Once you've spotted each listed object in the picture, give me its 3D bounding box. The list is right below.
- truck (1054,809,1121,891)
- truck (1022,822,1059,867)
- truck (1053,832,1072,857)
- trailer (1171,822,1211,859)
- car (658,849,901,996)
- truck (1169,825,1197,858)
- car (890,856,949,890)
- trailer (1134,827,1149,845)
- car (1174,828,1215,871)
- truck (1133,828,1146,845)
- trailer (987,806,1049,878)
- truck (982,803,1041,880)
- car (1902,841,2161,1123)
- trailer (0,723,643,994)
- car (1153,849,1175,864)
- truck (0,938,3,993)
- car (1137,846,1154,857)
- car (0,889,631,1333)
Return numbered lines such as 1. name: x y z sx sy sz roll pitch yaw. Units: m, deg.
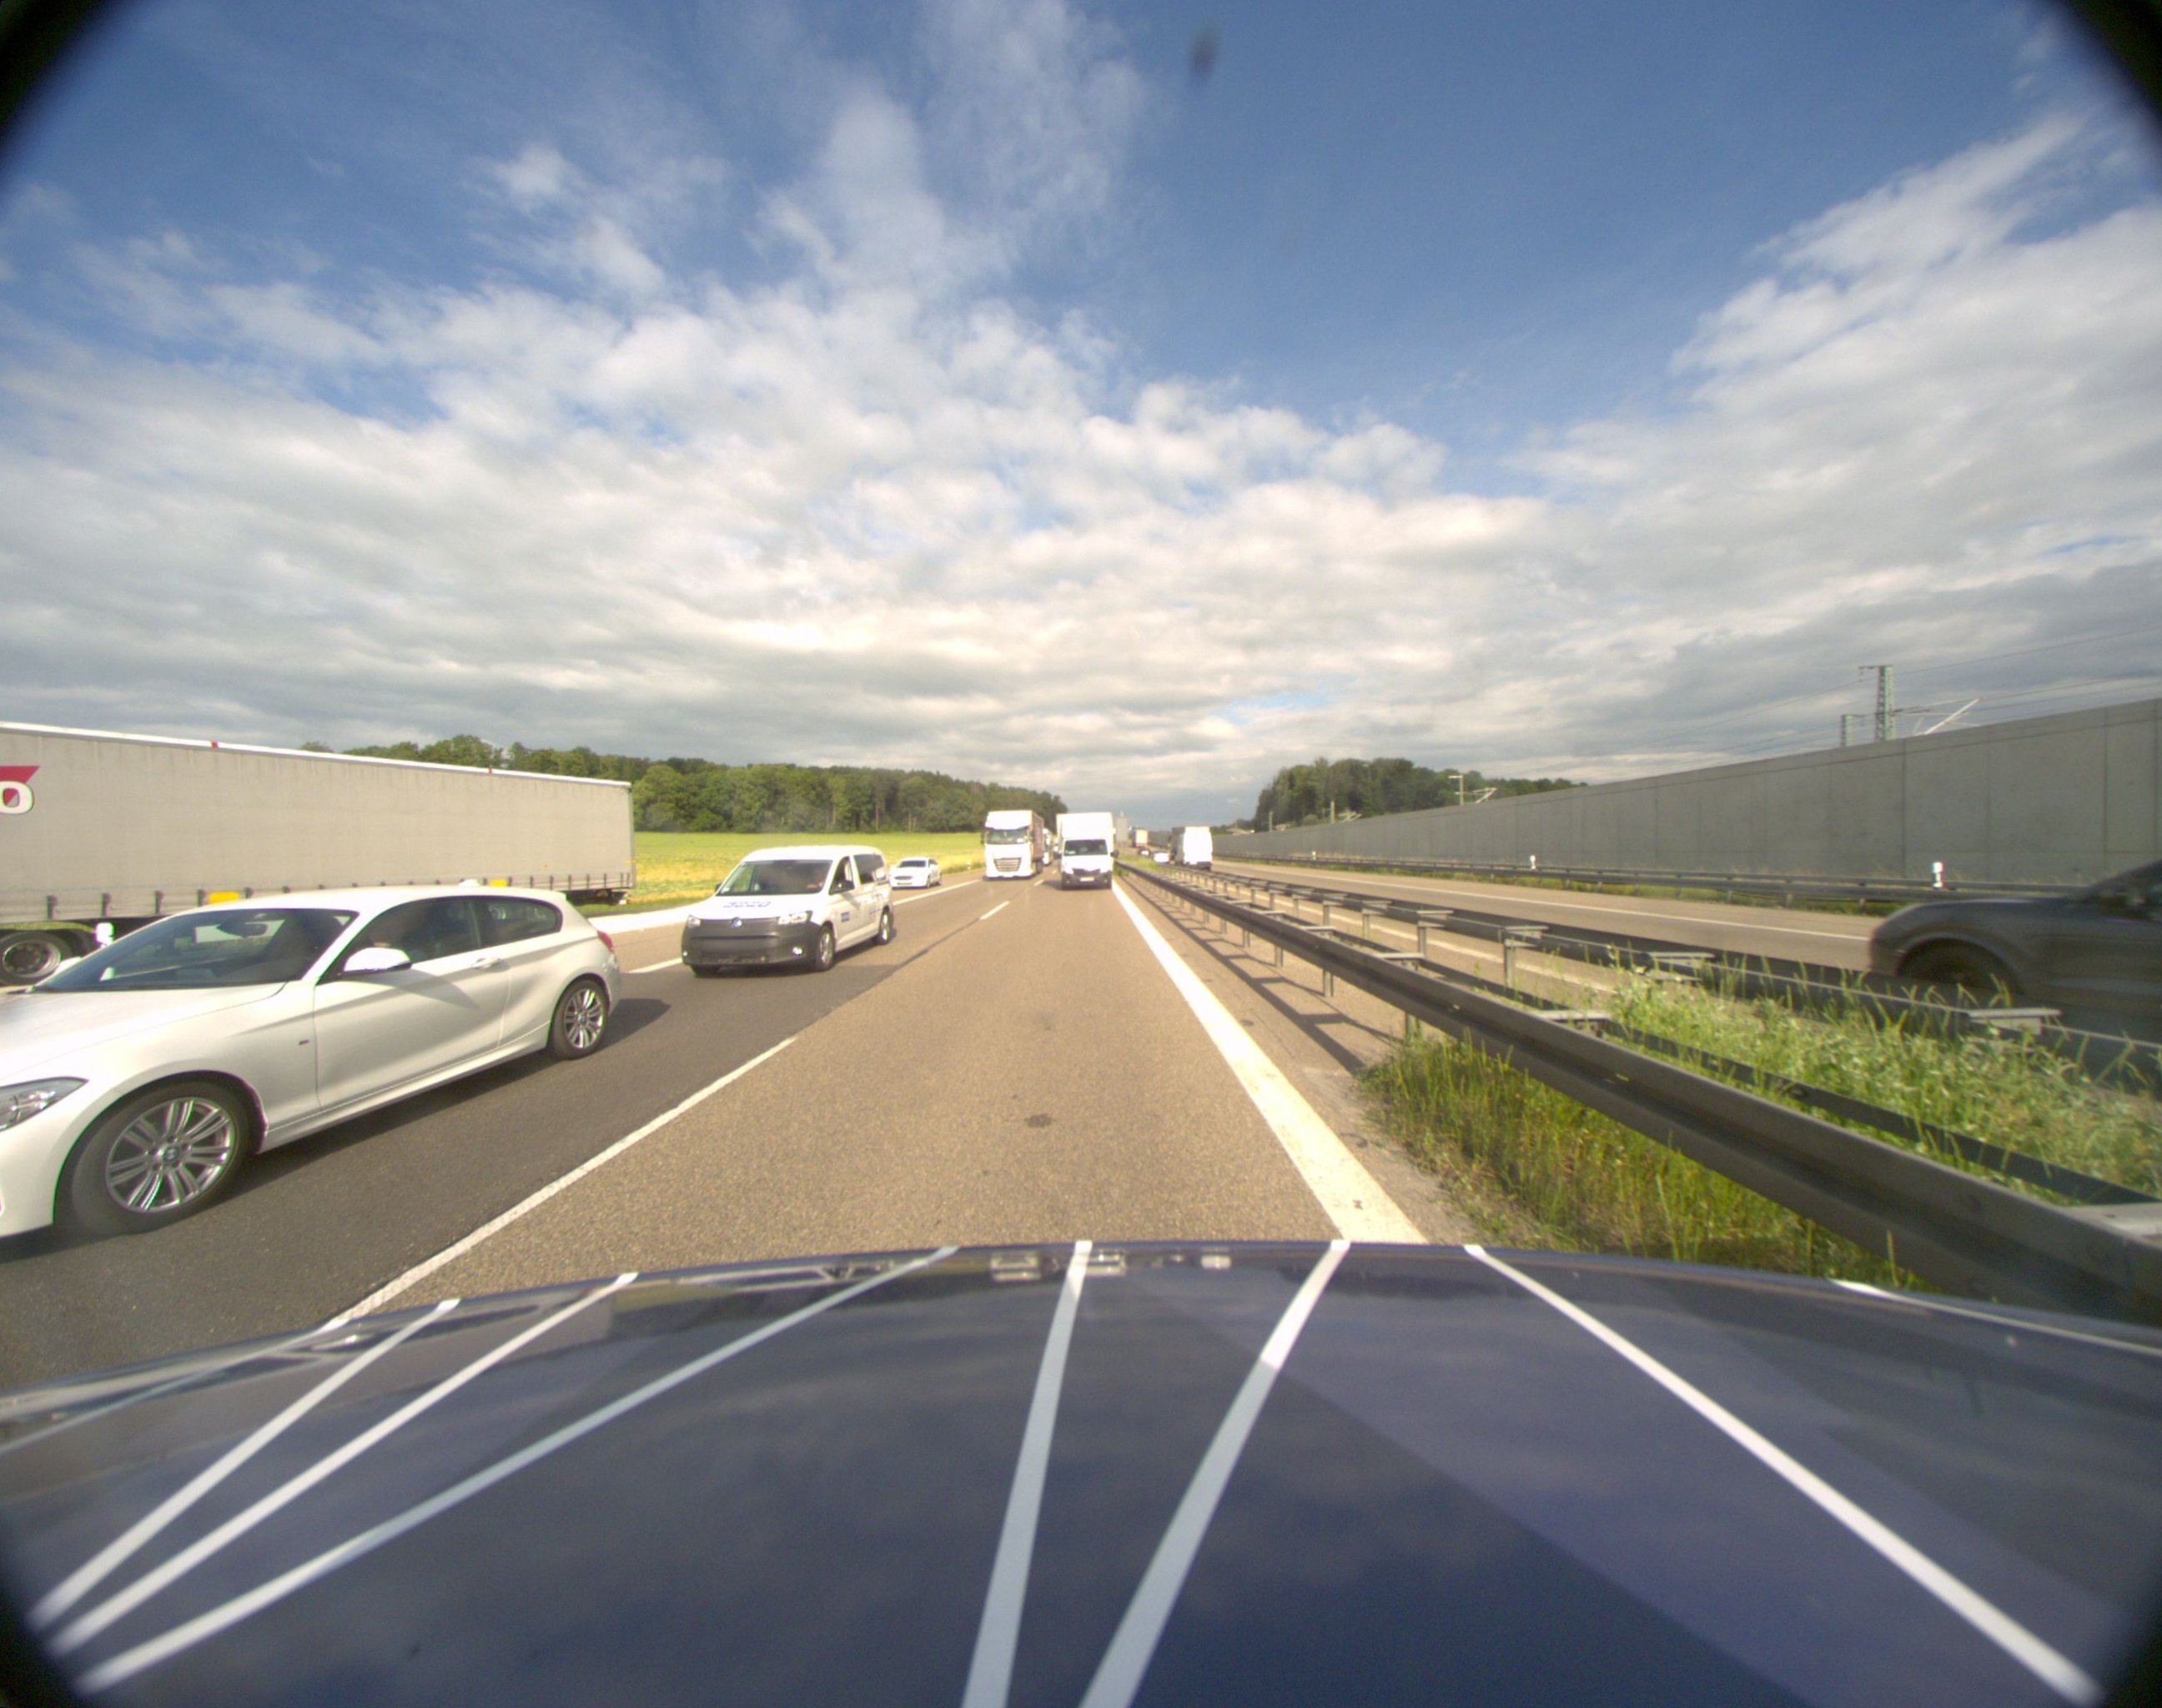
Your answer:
1. truck: 0.289 -0.206 35.320 2.500 3.082 12.037 -2 0 0
2. truck: -3.976 -0.924 76.791 2.946 4.094 12.523 -1 1 0
3. truck: -3.159 -1.641 134.918 2.946 4.094 16.207 -1 0 0
4. trailer: 12.729 -1.501 89.185 2.797 4.054 13.518 0 1 0
5. car: -4.287 0.829 11.751 1.729 1.746 4.702 -3 1 1
6. truck: 12.788 -1.566 95.819 2.783 4.064 5.531 0 1 0
7. car: -7.745 0.857 36.840 1.871 1.424 4.629 -2 0 -1
8. trailer: 14.238 -4.222 179.779 2.690 4.014 13.790 -1 0 0
9. car: 8.092 -0.325 54.559 2.109 2.854 5.636 -1 1 0
10. truck: 14.321 -4.281 186.730 2.692 4.045 5.878 -1 1 1
11. trailer: -3.966 -0.845 51.181 2.742 4.137 14.016 -2 1 0
12. truck: -4.004 -0.725 44.763 2.736 4.150 5.766 -2 1 0
13. car: 7.384 0.760 3.773 1.915 1.662 4.361 -1 0 0
14. trailer: -16.510 0.046 16.675 2.739 4.136 13.843 -2 0 15
15. car: 8.381 0.229 77.049 1.878 1.443 4.232 -1 1 1
16. truck: -18.456 0.121 9.617 2.717 4.149 4.765 -2 0 15
17. car: 8.460 -0.313 100.331 1.656 1.443 3.954 -1 1 -3
18. car: -4.812 1.058 4.485 1.708 1.424 4.232 -2 0 1
